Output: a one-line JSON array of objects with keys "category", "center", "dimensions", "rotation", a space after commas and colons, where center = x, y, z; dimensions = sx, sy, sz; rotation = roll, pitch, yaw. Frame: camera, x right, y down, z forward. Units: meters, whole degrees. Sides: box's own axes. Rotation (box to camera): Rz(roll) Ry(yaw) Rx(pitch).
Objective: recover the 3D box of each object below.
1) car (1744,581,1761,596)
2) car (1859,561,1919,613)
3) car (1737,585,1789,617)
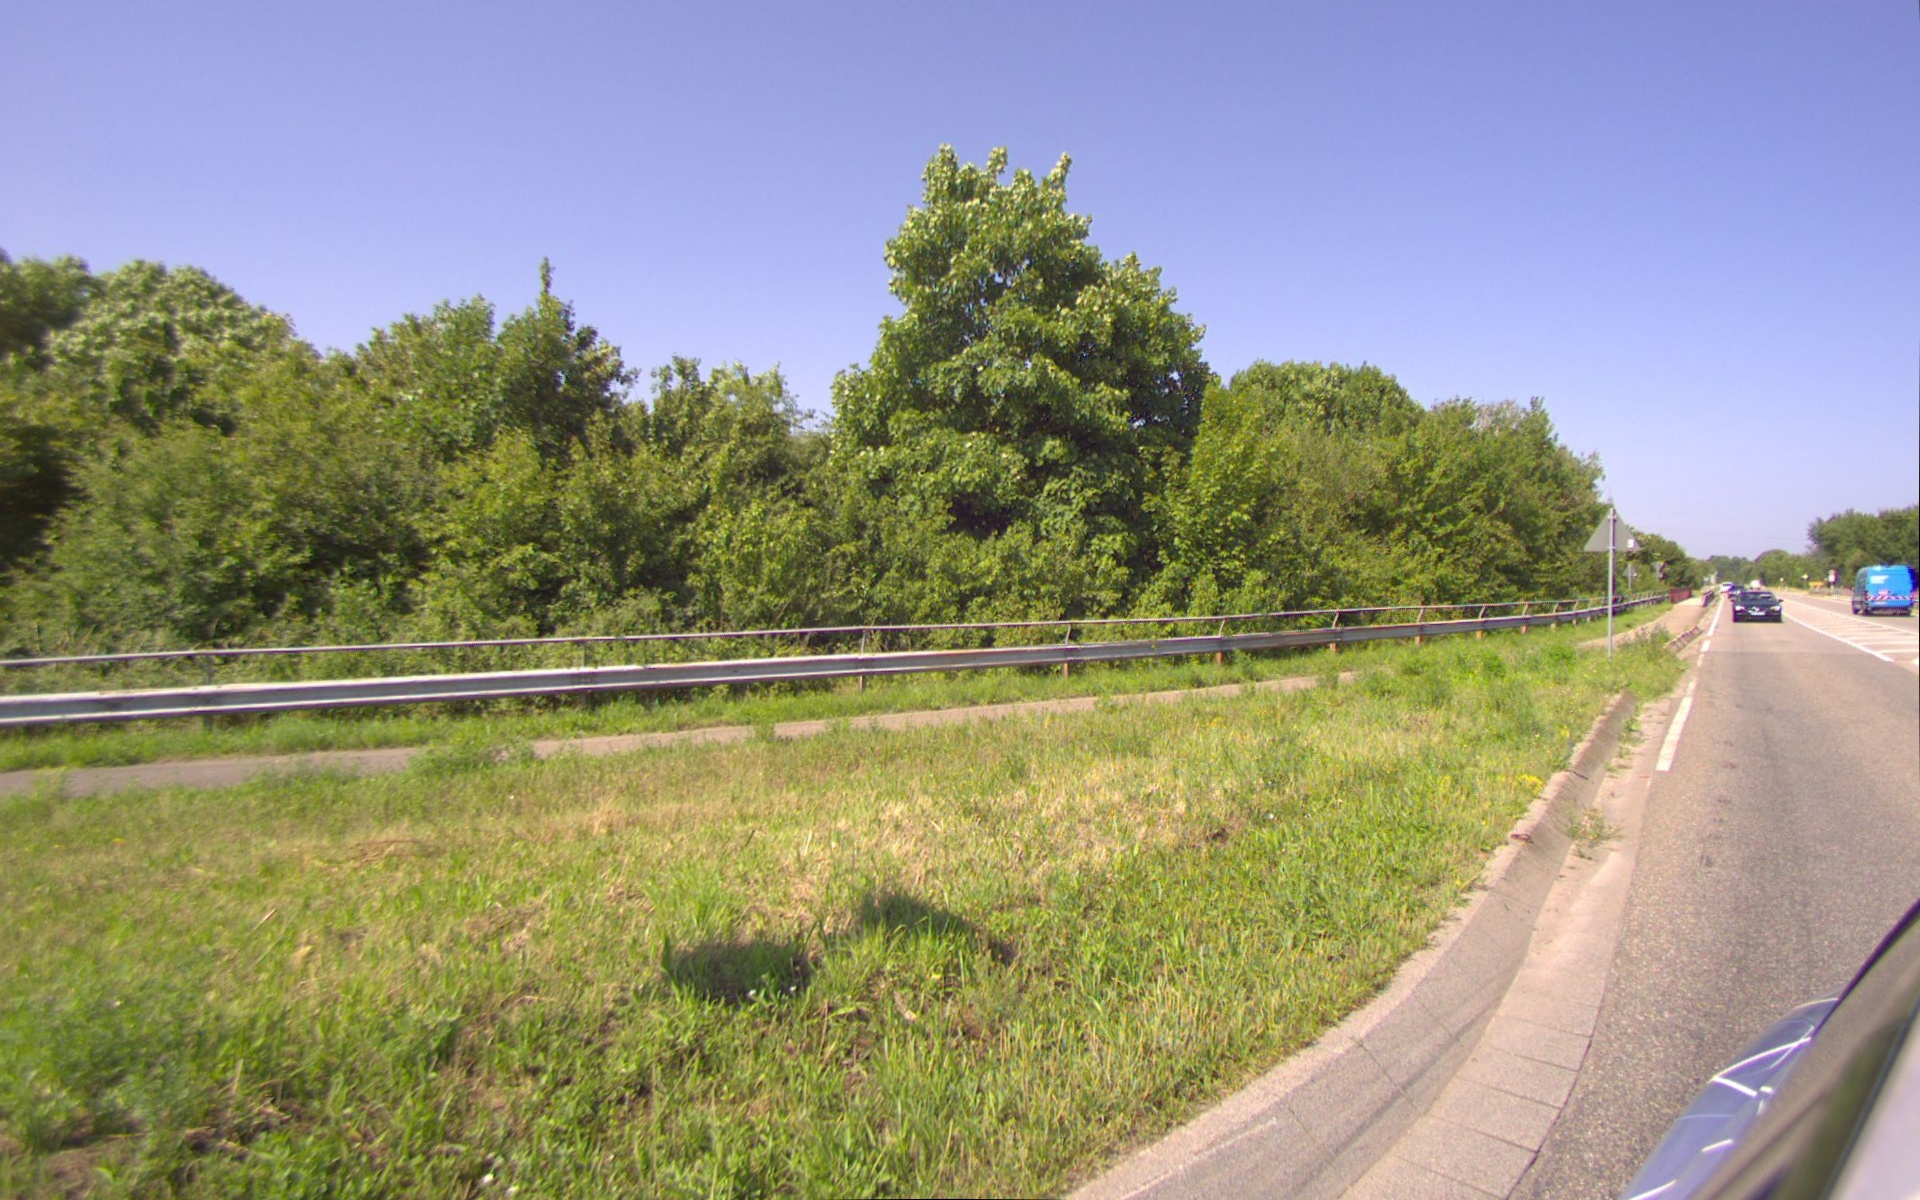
[{"category": "car", "center": [93.935, -1.381, 119.960], "dimensions": [1.454, 1.668, 3.488], "rotation": [-1, 0, 38]}, {"category": "car", "center": [50.819, -0.758, 55.205], "dimensions": [1.989, 2.643, 7.192], "rotation": [2, 2, 37]}, {"category": "car", "center": [37.219, 0.018, 46.930], "dimensions": [1.799, 1.415, 4.122], "rotation": [0, 1, 38]}]
